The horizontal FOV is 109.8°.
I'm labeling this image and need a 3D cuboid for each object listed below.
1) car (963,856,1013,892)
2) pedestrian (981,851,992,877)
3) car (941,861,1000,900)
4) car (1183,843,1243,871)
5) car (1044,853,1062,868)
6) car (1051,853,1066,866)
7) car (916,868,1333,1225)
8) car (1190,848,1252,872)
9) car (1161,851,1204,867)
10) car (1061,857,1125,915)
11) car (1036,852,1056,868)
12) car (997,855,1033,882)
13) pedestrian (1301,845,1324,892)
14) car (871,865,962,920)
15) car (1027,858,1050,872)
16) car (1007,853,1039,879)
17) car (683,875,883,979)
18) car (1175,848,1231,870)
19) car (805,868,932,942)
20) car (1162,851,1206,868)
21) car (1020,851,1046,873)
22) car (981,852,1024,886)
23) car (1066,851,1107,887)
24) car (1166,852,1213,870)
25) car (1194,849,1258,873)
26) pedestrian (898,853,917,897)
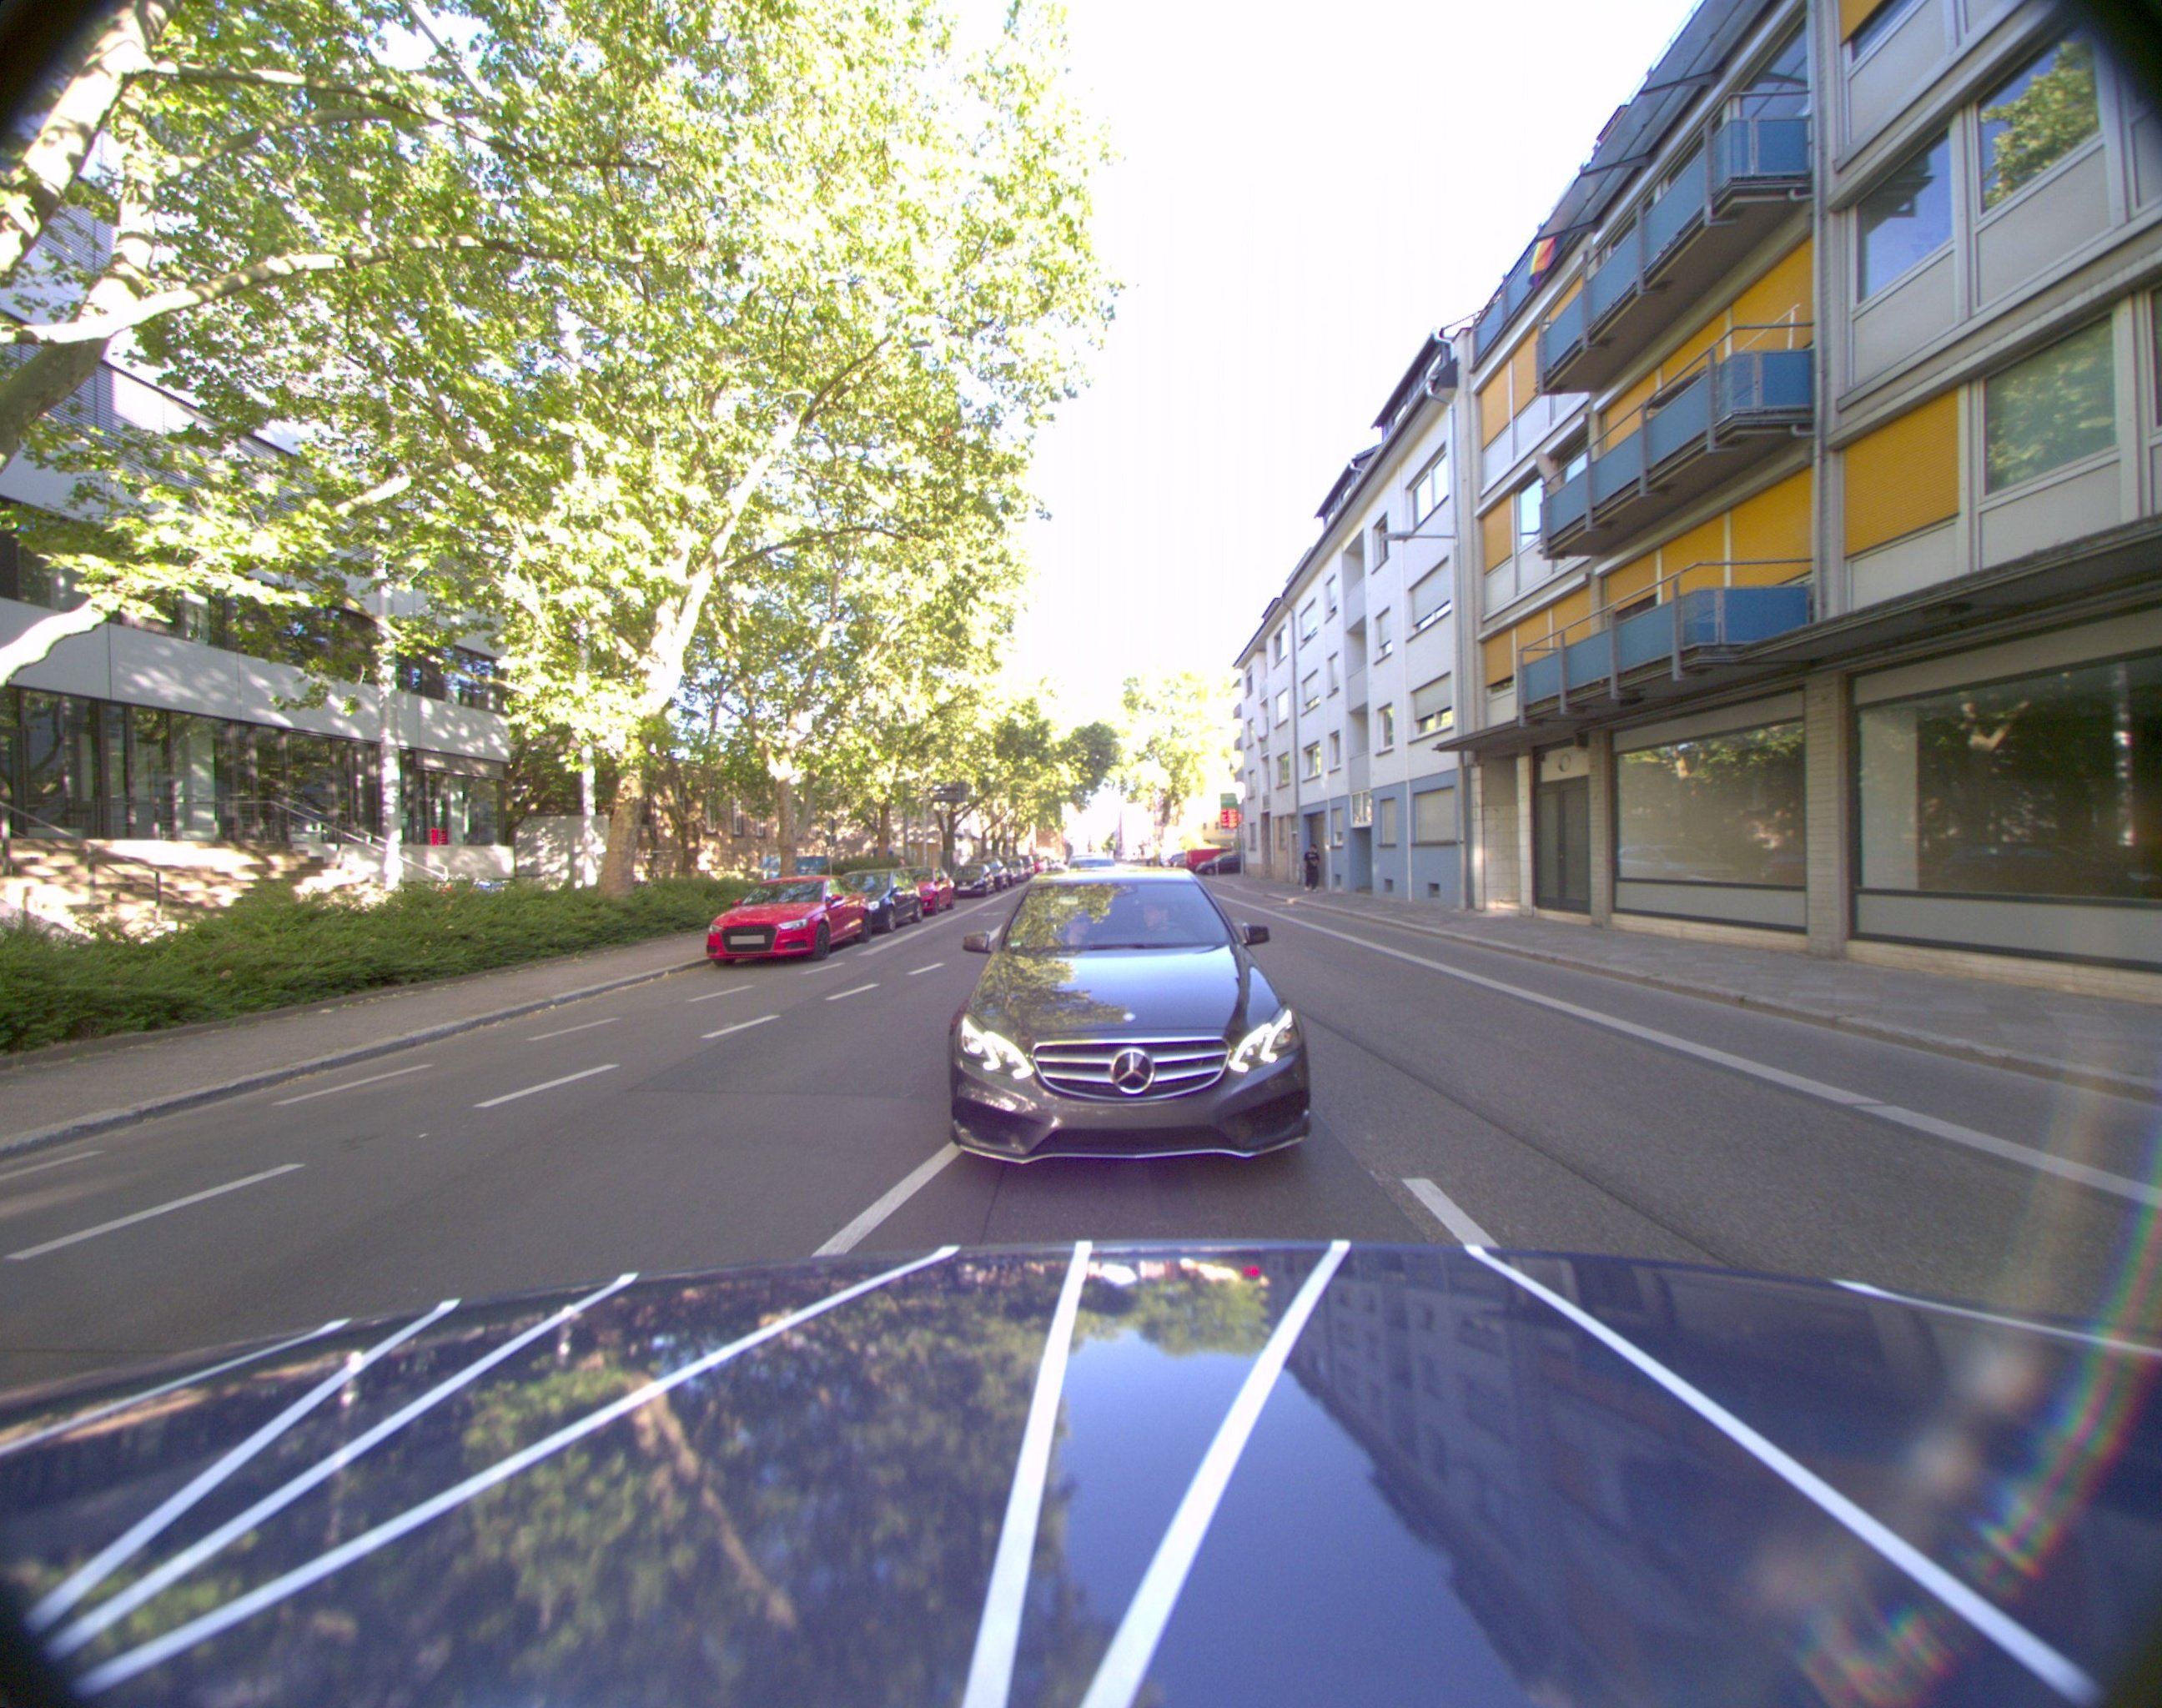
[{"bbox_3d":[-4.595,0.962,38.089,1.835,1.596,4.161,-2,0,1],"label":"car"},{"bbox_3d":[-6.816,0.747,54.847,0.660,1.849,0.641,-2,1,1],"label":"pedestrian"},{"bbox_3d":[-4.744,1.102,33.191,1.835,1.459,4.168,-2,0,1],"label":"car"},{"bbox_3d":[10.416,0.220,60.144,4.255,1.907,1.818,-4,0,0],"label":"car"},{"bbox_3d":[-3.412,0.784,92.857,1.835,1.667,4.259,-2,0,1],"label":"car"},{"bbox_3d":[-3.047,0.683,102.963,1.835,1.667,4.259,-2,0,1],"label":"car"},{"bbox_3d":[0.227,0.914,5.586,1.849,1.490,4.302,-1,0,1],"label":"car"},{"bbox_3d":[10.484,0.452,57.064,4.255,1.461,1.653,-4,0,1],"label":"car"},{"bbox_3d":[10.774,0.512,80.630,4.255,1.461,1.653,-4,0,1],"label":"car"},{"bbox_3d":[0.375,0.883,22.832,1.726,1.530,4.000,-1,0,1],"label":"car"},{"bbox_3d":[-3.939,0.666,86.241,1.835,1.667,4.259,-2,0,1],"label":"car"},{"bbox_3d":[-4.337,0.944,50.622,1.835,1.604,4.259,-2,0,1],"label":"car"},{"bbox_3d":[8.452,0.510,27.744,0.612,1.685,0.655,-2,1,1],"label":"pedestrian"},{"bbox_3d":[-5.041,1.132,23.855,1.835,1.459,4.168,-2,0,1],"label":"car"},{"bbox_3d":[-3.990,1.024,71.802,1.835,1.220,4.259,-2,0,1],"label":"car"},{"bbox_3d":[-4.179,0.810,55.654,1.835,1.750,4.259,-2,0,1],"label":"car"},{"bbox_3d":[-5.128,1.175,13.784,1.835,1.396,4.247,-2,0,1],"label":"car"},{"bbox_3d":[10.053,0.405,62.726,4.255,1.461,1.653,-4,0,1],"label":"car"},{"bbox_3d":[-5.039,1.148,18.645,1.835,1.438,4.168,-2,0,1],"label":"car"},{"bbox_3d":[10.603,0.538,78.665,4.255,1.461,1.653,-4,0,1],"label":"car"},{"bbox_3d":[-4.145,0.680,66.361,1.835,1.839,4.259,-2,0,1],"label":"car"},{"bbox_3d":[-4.509,0.820,44.129,1.835,1.787,4.463,-2,0,1],"label":"car"},{"bbox_3d":[0.318,0.732,39.264,1.908,1.678,4.813,-2,0,1],"label":"car"},{"bbox_3d":[10.433,0.671,73.207,4.255,1.461,1.653,-4,0,1],"label":"car"},{"bbox_3d":[10.401,0.516,54.762,4.255,1.392,1.653,-4,0,1],"label":"car"},{"bbox_3d":[-7.115,0.856,31.221,0.601,1.785,0.593,-2,1,0],"label":"pedestrian"}]
